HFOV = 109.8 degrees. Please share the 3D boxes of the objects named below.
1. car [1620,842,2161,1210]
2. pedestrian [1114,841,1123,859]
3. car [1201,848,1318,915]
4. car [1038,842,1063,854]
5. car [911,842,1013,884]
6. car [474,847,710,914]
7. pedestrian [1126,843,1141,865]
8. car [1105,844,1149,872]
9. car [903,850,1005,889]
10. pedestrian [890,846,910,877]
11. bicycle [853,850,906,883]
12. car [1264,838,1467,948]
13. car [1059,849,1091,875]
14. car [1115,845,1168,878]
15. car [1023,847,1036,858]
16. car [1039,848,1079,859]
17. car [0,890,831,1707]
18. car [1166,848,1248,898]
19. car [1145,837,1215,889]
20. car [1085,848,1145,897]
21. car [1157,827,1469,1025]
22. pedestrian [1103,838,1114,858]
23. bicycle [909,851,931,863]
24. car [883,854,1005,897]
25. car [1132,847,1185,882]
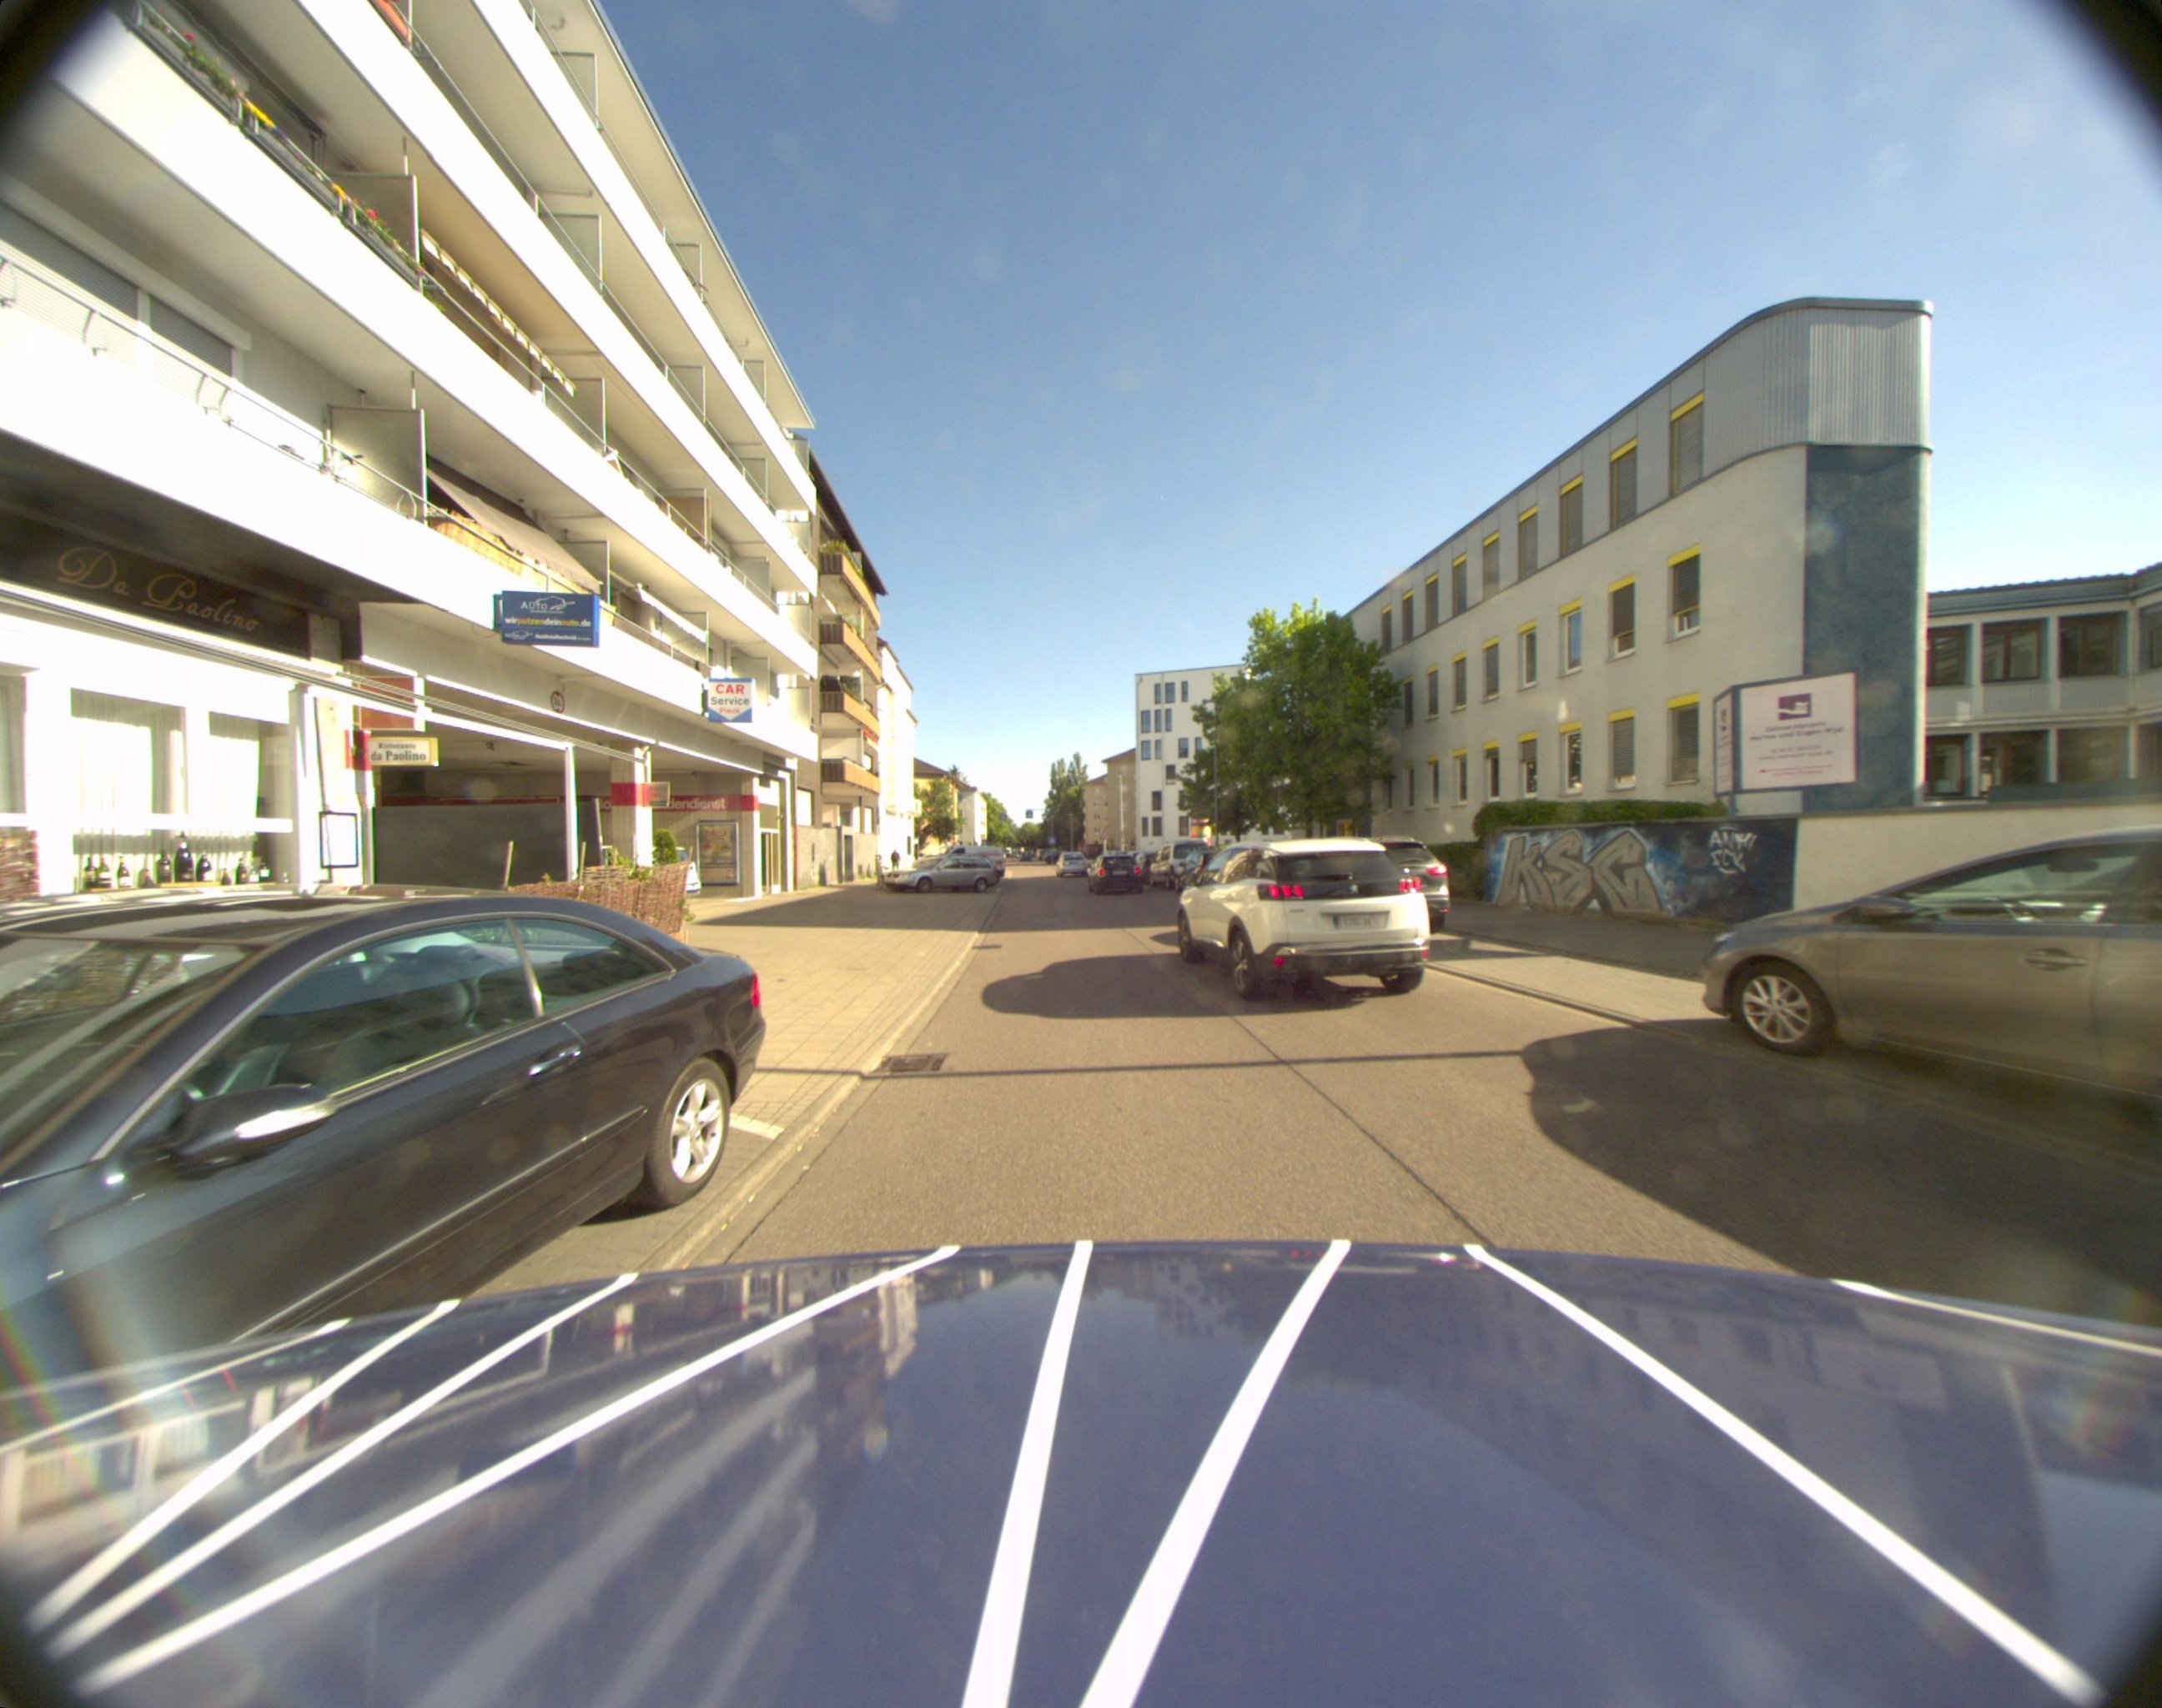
[{"bbox_3d":[5.505,0.715,3.703,1.999,1.525,4.915,-1,0,-5],"label":"car"},{"bbox_3d":[3.886,-0.398,79.390,0.790,1.875,0.847,0,4,11],"label":"pedestrian"},{"bbox_3d":[4.379,0.601,19.383,1.731,1.456,4.437,-1,1,-3],"label":"car"},{"bbox_3d":[-5.613,-1.050,138.405,4.005,2.003,1.995,-2,4,-25],"label":"car"},{"bbox_3d":[-5.782,0.416,37.262,4.540,1.887,2.043,0,3,-45],"label":"car"},{"bbox_3d":[-11.730,0.610,18.512,4.404,1.504,1.978,0,2,-5],"label":"car"},{"bbox_3d":[4.254,0.003,61.385,0.977,1.704,0.874,0,1,18],"label":"pedestrian"},{"bbox_3d":[2.625,0.205,44.509,1.914,1.470,4.377,-1,2,-6],"label":"car"},{"bbox_3d":[-5.564,0.636,33.626,1.751,1.504,4.336,2,2,41],"label":"car"},{"bbox_3d":[-9.548,0.391,40.190,0.835,1.584,0.888,0,2,1],"label":"pedestrian"},{"bbox_3d":[-7.819,0.470,29.624,0.705,1.246,2.265,-1,0,23],"label":"bicycle"},{"bbox_3d":[4.731,0.548,13.388,1.724,1.577,4.419,-1,1,-3],"label":"car"},{"bbox_3d":[-0.382,0.467,46.710,1.731,1.477,4.104,0,1,-4],"label":"car"},{"bbox_3d":[3.078,0.332,39.634,1.914,1.521,4.621,-1,2,-6],"label":"car"},{"bbox_3d":[-7.745,-0.260,114.678,1.842,1.496,4.133,-1,4,-4],"label":"car"},{"bbox_3d":[-2.760,-0.082,94.947,4.571,1.160,1.995,-3,1,-33],"label":"car"},{"bbox_3d":[-2.658,1.010,2.081,1.975,1.442,5.003,-1,1,4],"label":"car"},{"bbox_3d":[4.017,0.563,24.796,1.603,1.432,3.997,-2,1,-6],"label":"car"},{"bbox_3d":[3.753,0.317,29.560,1.693,1.828,4.338,-1,1,-6],"label":"car"},{"bbox_3d":[1.196,0.621,28.345,1.745,1.505,3.726,0,4,-5],"label":"car"},{"bbox_3d":[2.310,0.618,8.931,1.925,1.714,4.334,-1,1,-6],"label":"car"},{"bbox_3d":[2.999,-0.652,82.058,0.776,2.108,0.956,-3,1,-25],"label":"pedestrian"},{"bbox_3d":[-15.435,0.297,72.822,2.026,1.187,0.530,0,2,18],"label":"bicycle"},{"bbox_3d":[-5.306,0.785,29.958,1.685,1.458,4.656,2,2,43],"label":"car"},{"bbox_3d":[3.422,0.413,34.340,1.737,1.431,4.609,-1,1,-3],"label":"car"}]
